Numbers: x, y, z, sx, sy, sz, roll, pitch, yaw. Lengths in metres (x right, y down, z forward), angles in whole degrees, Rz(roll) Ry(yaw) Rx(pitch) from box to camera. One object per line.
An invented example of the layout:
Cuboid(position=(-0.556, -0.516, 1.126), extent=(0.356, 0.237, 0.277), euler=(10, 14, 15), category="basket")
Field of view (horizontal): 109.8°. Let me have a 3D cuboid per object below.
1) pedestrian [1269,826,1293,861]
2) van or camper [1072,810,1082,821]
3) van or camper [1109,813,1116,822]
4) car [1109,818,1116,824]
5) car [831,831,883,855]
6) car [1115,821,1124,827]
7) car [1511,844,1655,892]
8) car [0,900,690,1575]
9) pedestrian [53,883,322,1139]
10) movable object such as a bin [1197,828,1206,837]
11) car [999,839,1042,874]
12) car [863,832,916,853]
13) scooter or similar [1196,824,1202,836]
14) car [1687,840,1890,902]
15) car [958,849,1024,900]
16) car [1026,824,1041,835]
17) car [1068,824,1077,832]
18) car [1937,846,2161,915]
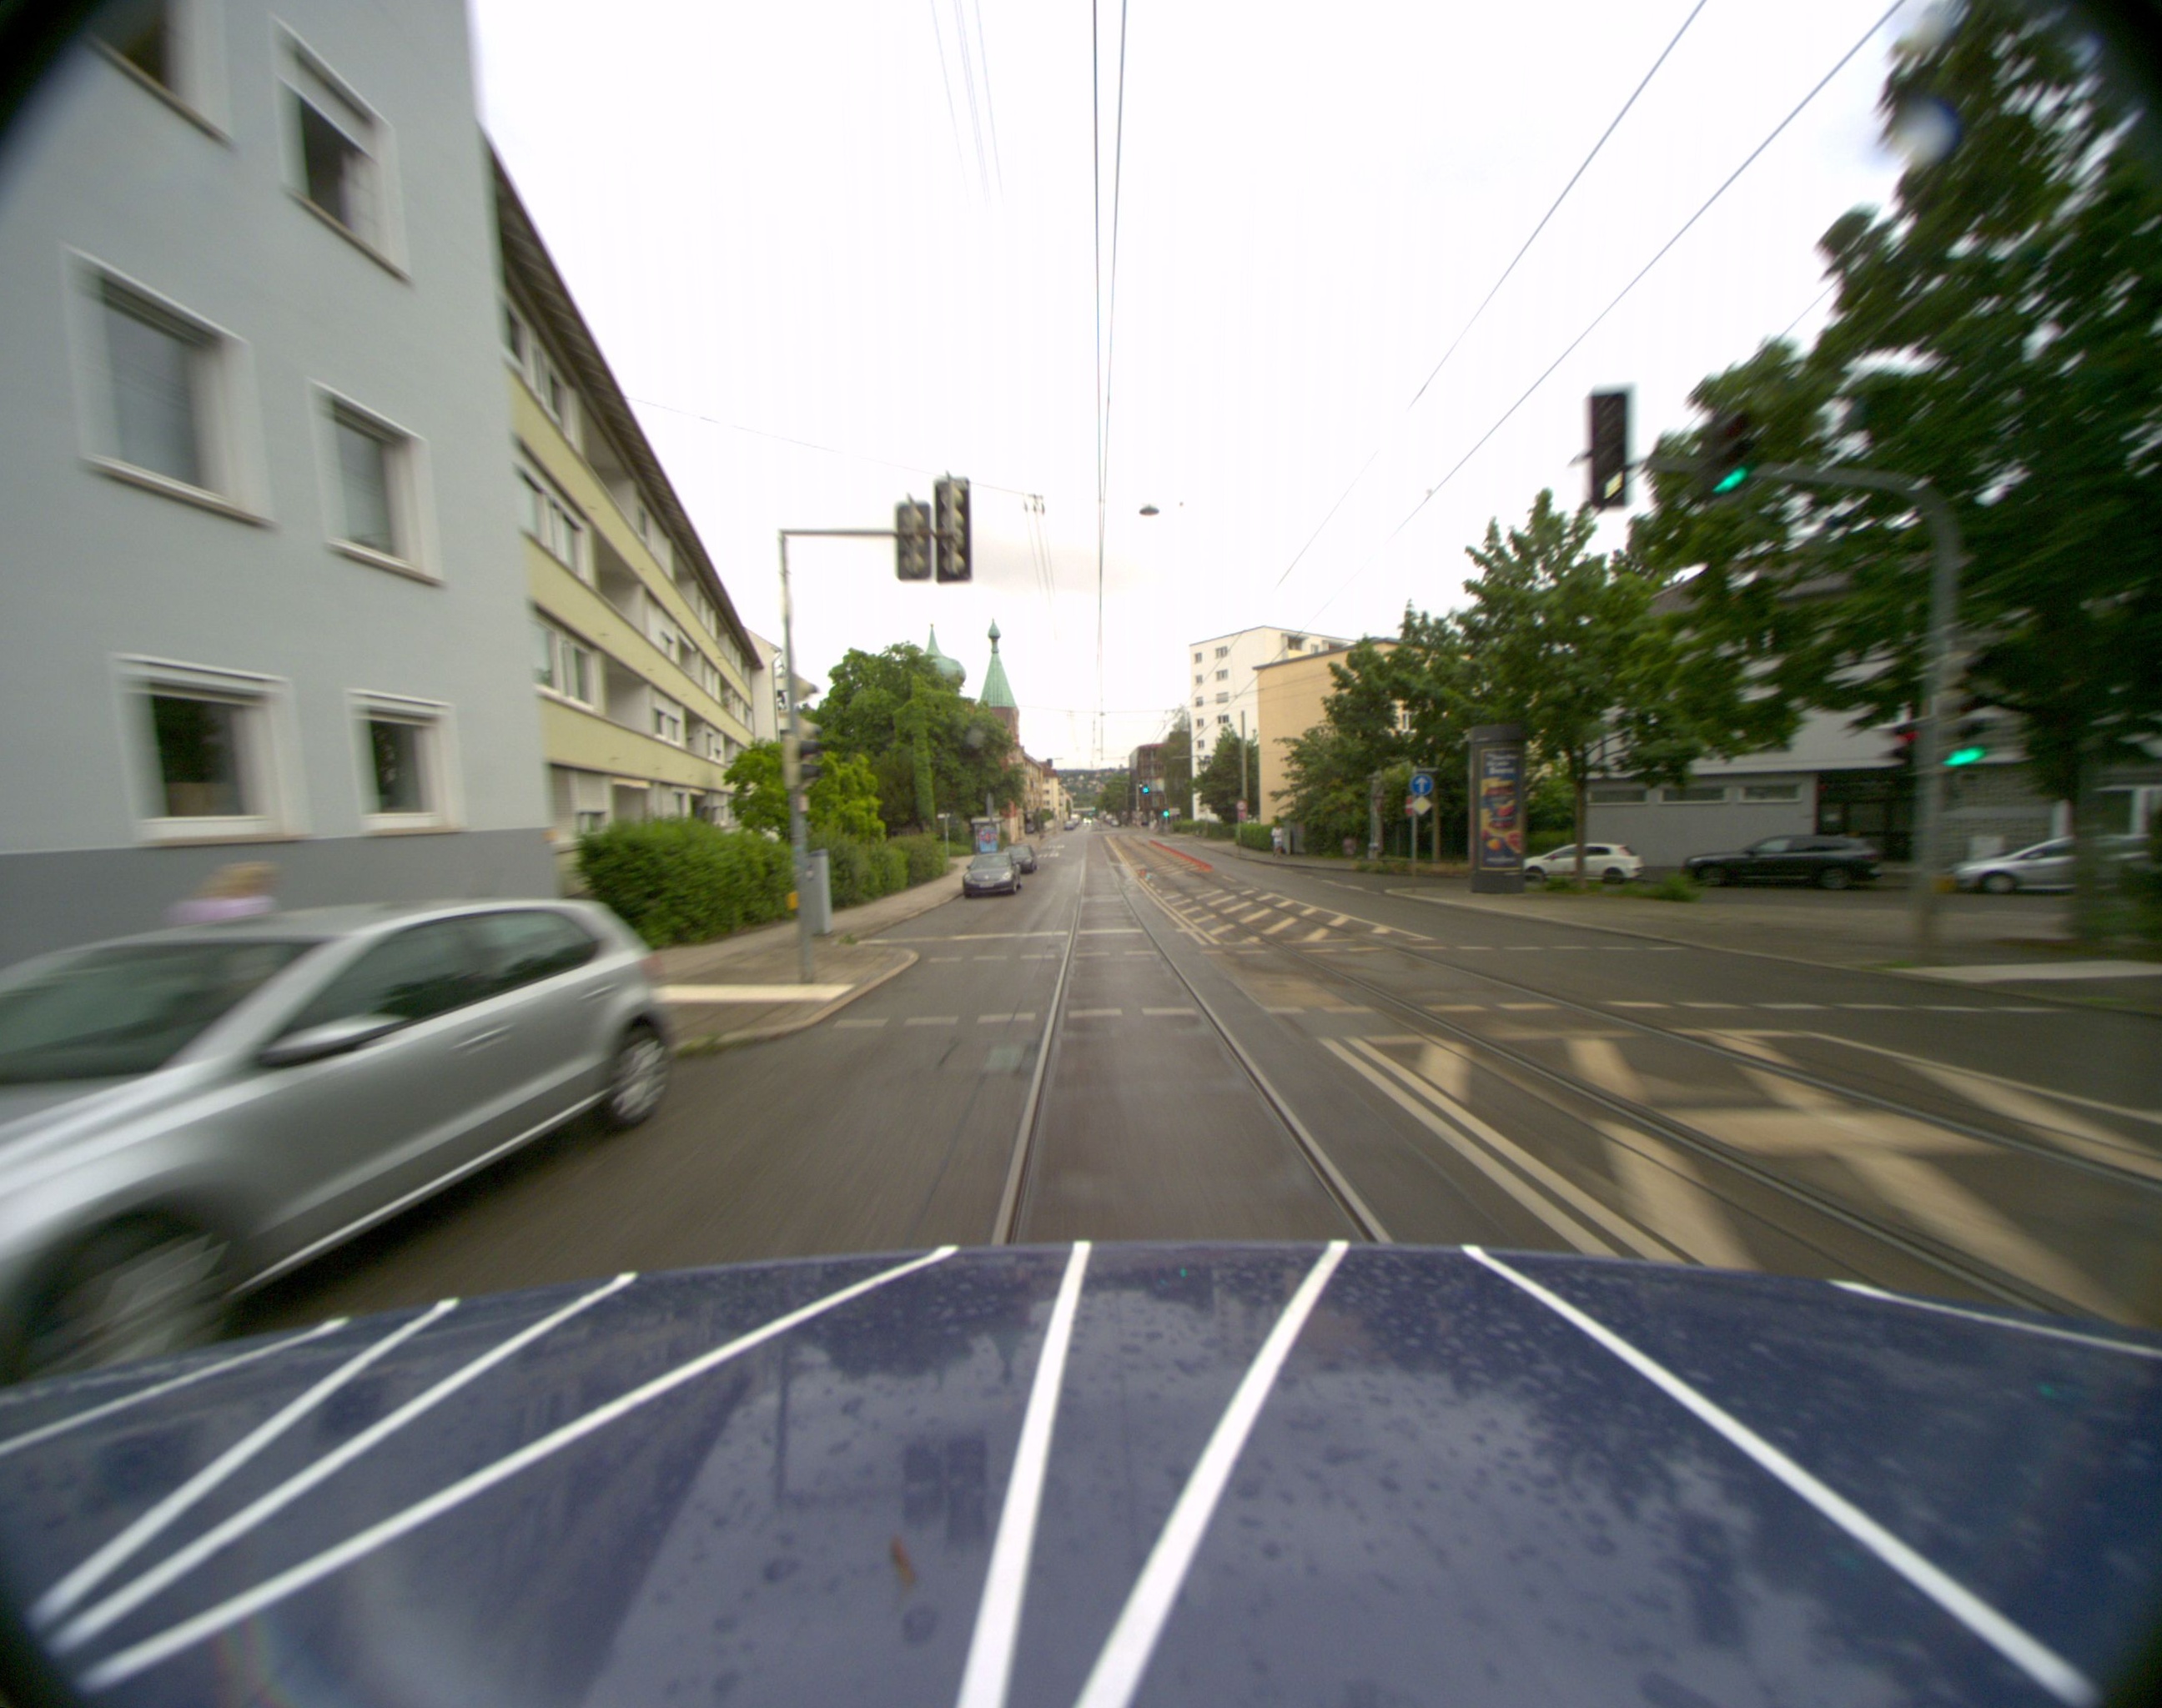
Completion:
Cuboid(position=(11.145, -0.585, 42.398), extent=(0.921, 1.836, 1.016), euler=(-4, 4, -4), category="pedestrian")
Cuboid(position=(-1.110, -11.182, 221.081), extent=(2.753, 3.042, 7.025), euler=(-2, 4, 2), category="van or camper")
Cuboid(position=(9.808, -11.462, 239.400), extent=(2.143, 2.589, 5.546), euler=(-2, 4, 2), category="van or camper")
Cuboid(position=(9.633, -10.201, 233.510), extent=(1.998, 1.566, 3.997), euler=(-3, 4, 0), category="car")
Cuboid(position=(-17.017, -0.865, 57.690), extent=(4.189, 1.686, 1.845), euler=(1, 5, 44), category="car")
Cuboid(position=(9.351, -7.336, 183.539), extent=(1.727, 1.456, 4.327), euler=(-1, 3, -3), category="car")
Cuboid(position=(18.714, 0.471, 28.465), extent=(2.003, 1.473, 4.148), euler=(-7, 6, -43), category="car")
Cuboid(position=(-3.553, 1.096, 3.106), extent=(1.709, 1.425, 4.101), euler=(-3, 1, 0), category="car")
Cuboid(position=(-5.994, 0.995, 5.154), extent=(0.884, 1.574, 0.801), euler=(0, -1, 3), category="pedestrian")
Cuboid(position=(12.730, -2.258, 80.345), extent=(0.688, 0.877, 0.759), euler=(-3, 5, -4), category="movable object such as a bin")
Cuboid(position=(-3.074, 0.087, 39.512), extent=(1.862, 1.479, 4.642), euler=(-3, 3, 0), category="car")
Cuboid(position=(-15.235, -0.926, 60.293), extent=(4.371, 1.550, 1.845), euler=(1, 5, 42), category="car")
Cuboid(position=(12.215, -2.479, 78.377), extent=(0.573, 1.178, 1.600), euler=(-2, 4, 8), category="scooter or similar")
Cuboid(position=(22.557, 0.459, 24.436), extent=(4.626, 1.697, 1.845), euler=(2, 6, 44), category="car")
Cuboid(position=(-3.211, 0.677, 27.825), extent=(1.945, 1.456, 4.203), euler=(-3, 3, -1), category="car")
Cuboid(position=(-7.489, -3.900, 119.738), extent=(1.858, 1.495, 4.445), euler=(1, 5, 1), category="car")
Cuboid(position=(-1.641, -5.222, 151.268), extent=(1.734, 1.452, 4.474), euler=(-3, 4, 0), category="car")
Cuboid(position=(26.296, 0.640, 20.451), extent=(4.160, 1.571, 1.845), euler=(2, 5, 44), category="car")
